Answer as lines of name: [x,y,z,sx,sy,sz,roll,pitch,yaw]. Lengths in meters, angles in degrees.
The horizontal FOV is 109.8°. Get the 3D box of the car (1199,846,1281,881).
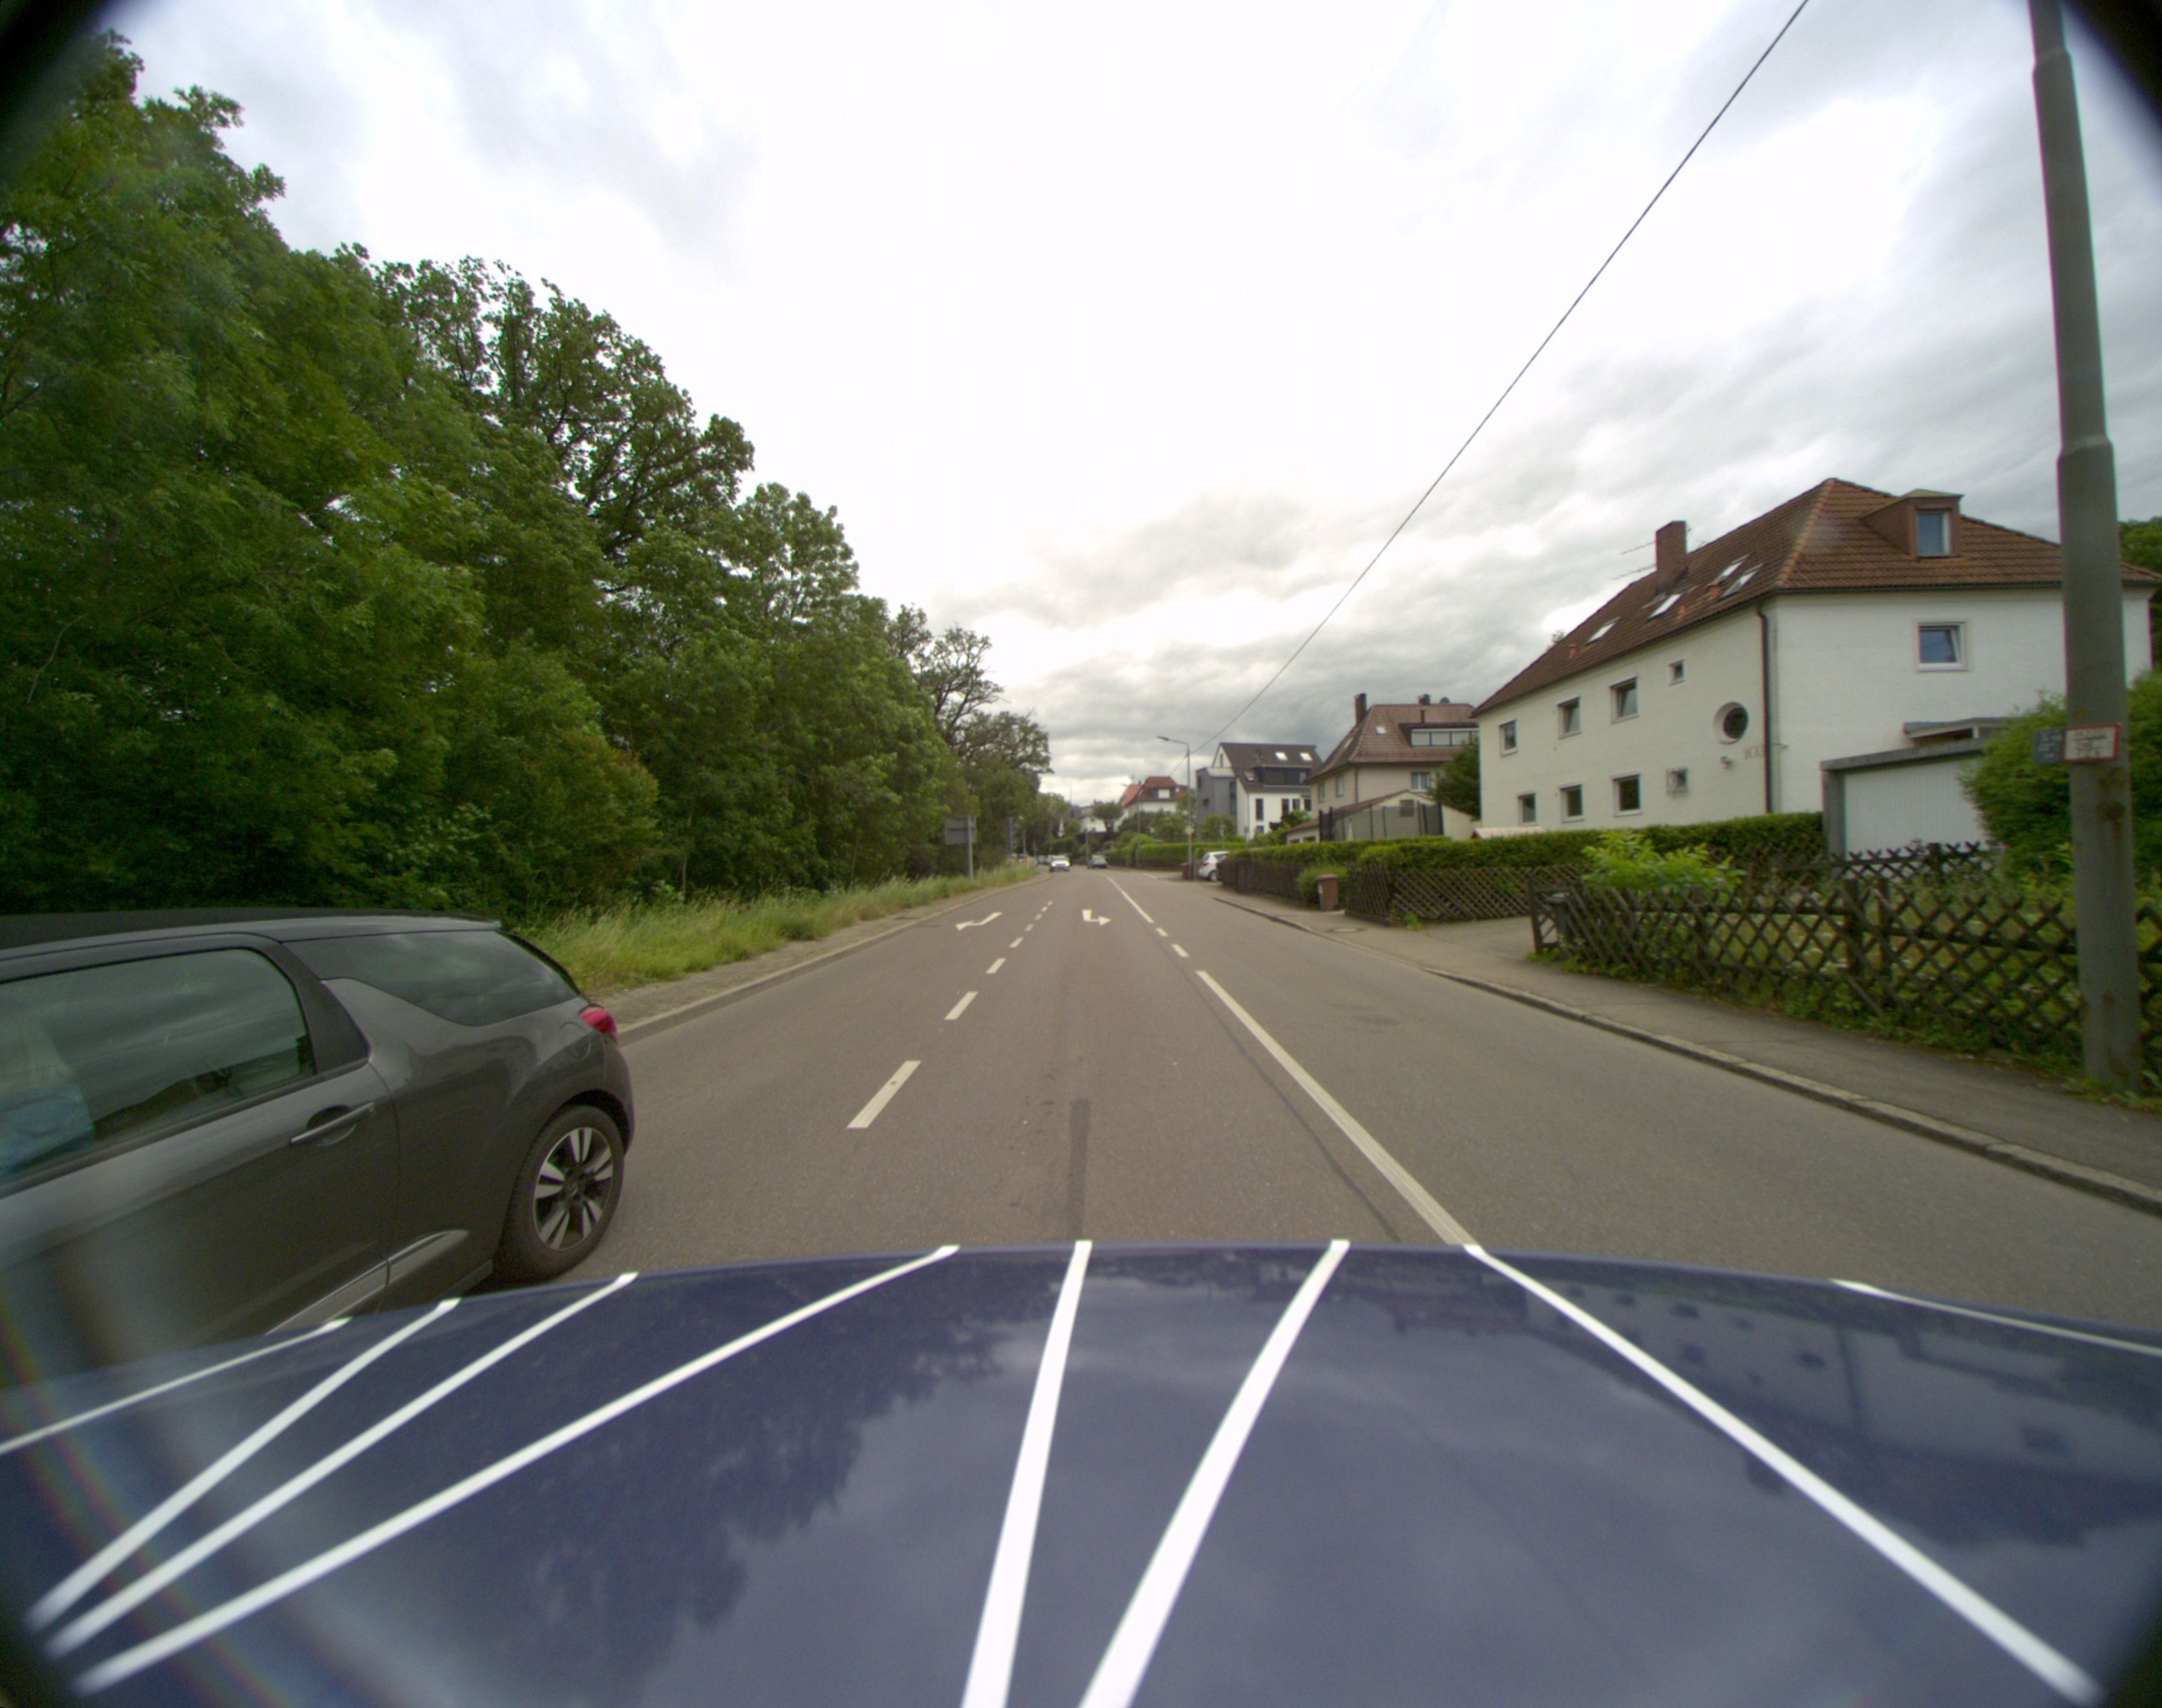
car: [8.543,0.505,41.044,3.997,1.584,1.718,-3,1,1]

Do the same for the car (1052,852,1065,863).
car: [-3.754,0.565,124.001,1.833,1.665,3.997,-1,2,-6]

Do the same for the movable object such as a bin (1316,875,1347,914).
movable object such as a bin: [6.252,1.009,19.006,0.634,0.908,0.561,-3,0,11]

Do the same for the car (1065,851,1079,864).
car: [-1.182,0.427,101.374,1.818,1.590,3.955,-1,0,-2]

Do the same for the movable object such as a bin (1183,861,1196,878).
movable object such as a bin: [6.284,0.896,43.903,0.689,0.948,0.572,-1,1,3]

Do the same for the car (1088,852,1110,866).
car: [2.040,0.559,86.650,1.840,1.514,3.996,-1,0,-9]

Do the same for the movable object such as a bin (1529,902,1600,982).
movable object such as a bin: [6.048,1.089,9.530,0.551,0.933,0.537,-1,1,2]

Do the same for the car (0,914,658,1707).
car: [-2.859,1.039,1.505,1.730,1.449,3.855,-2,0,2]

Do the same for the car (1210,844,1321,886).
car: [8.556,0.500,35.515,4.682,1.660,1.882,-3,1,-1]

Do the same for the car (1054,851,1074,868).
car: [-1.826,0.555,80.854,1.999,1.565,3.999,-3,0,-2]

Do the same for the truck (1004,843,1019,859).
truck: [-16.151,-0.745,176.289,3.008,3.618,7.082,-1,0,-8]
